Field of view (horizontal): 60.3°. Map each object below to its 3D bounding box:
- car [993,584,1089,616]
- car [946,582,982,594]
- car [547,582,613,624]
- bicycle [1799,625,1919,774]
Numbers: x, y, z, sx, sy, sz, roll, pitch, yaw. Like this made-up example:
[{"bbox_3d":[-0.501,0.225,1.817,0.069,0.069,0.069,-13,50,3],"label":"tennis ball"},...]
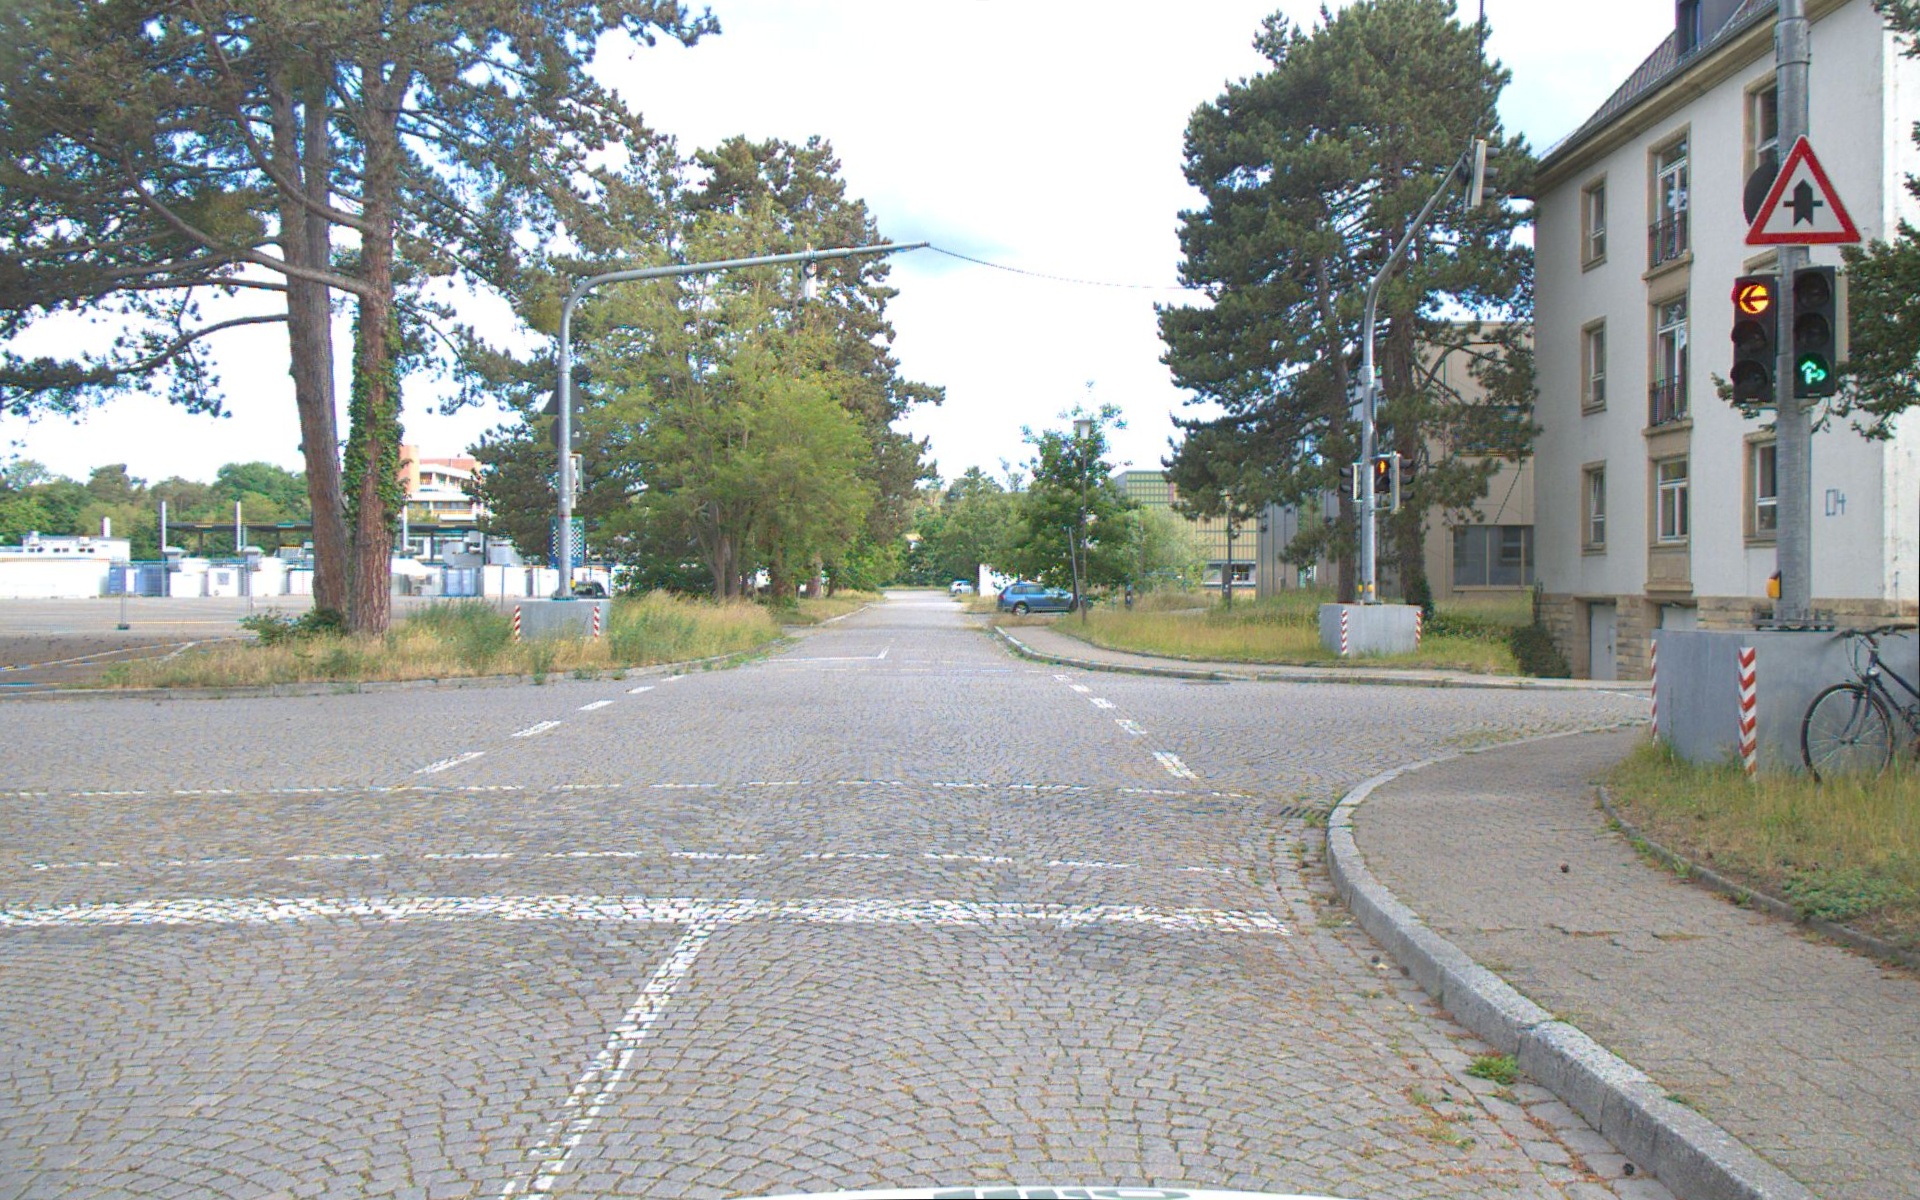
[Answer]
[{"bbox_3d":[3.723,-0.011,76.309,4.258,1.447,1.999,0,1,-4],"label":"car"},{"bbox_3d":[0.465,-1.416,193.316,3.911,1.422,1.997,0,1,-7],"label":"car"},{"bbox_3d":[-13.949,0.079,60.960,1.580,1.513,3.999,0,1,-1],"label":"car"},{"bbox_3d":[6.254,0.612,10.417,1.665,0.889,0.573,0,1,-1],"label":"bicycle"}]
